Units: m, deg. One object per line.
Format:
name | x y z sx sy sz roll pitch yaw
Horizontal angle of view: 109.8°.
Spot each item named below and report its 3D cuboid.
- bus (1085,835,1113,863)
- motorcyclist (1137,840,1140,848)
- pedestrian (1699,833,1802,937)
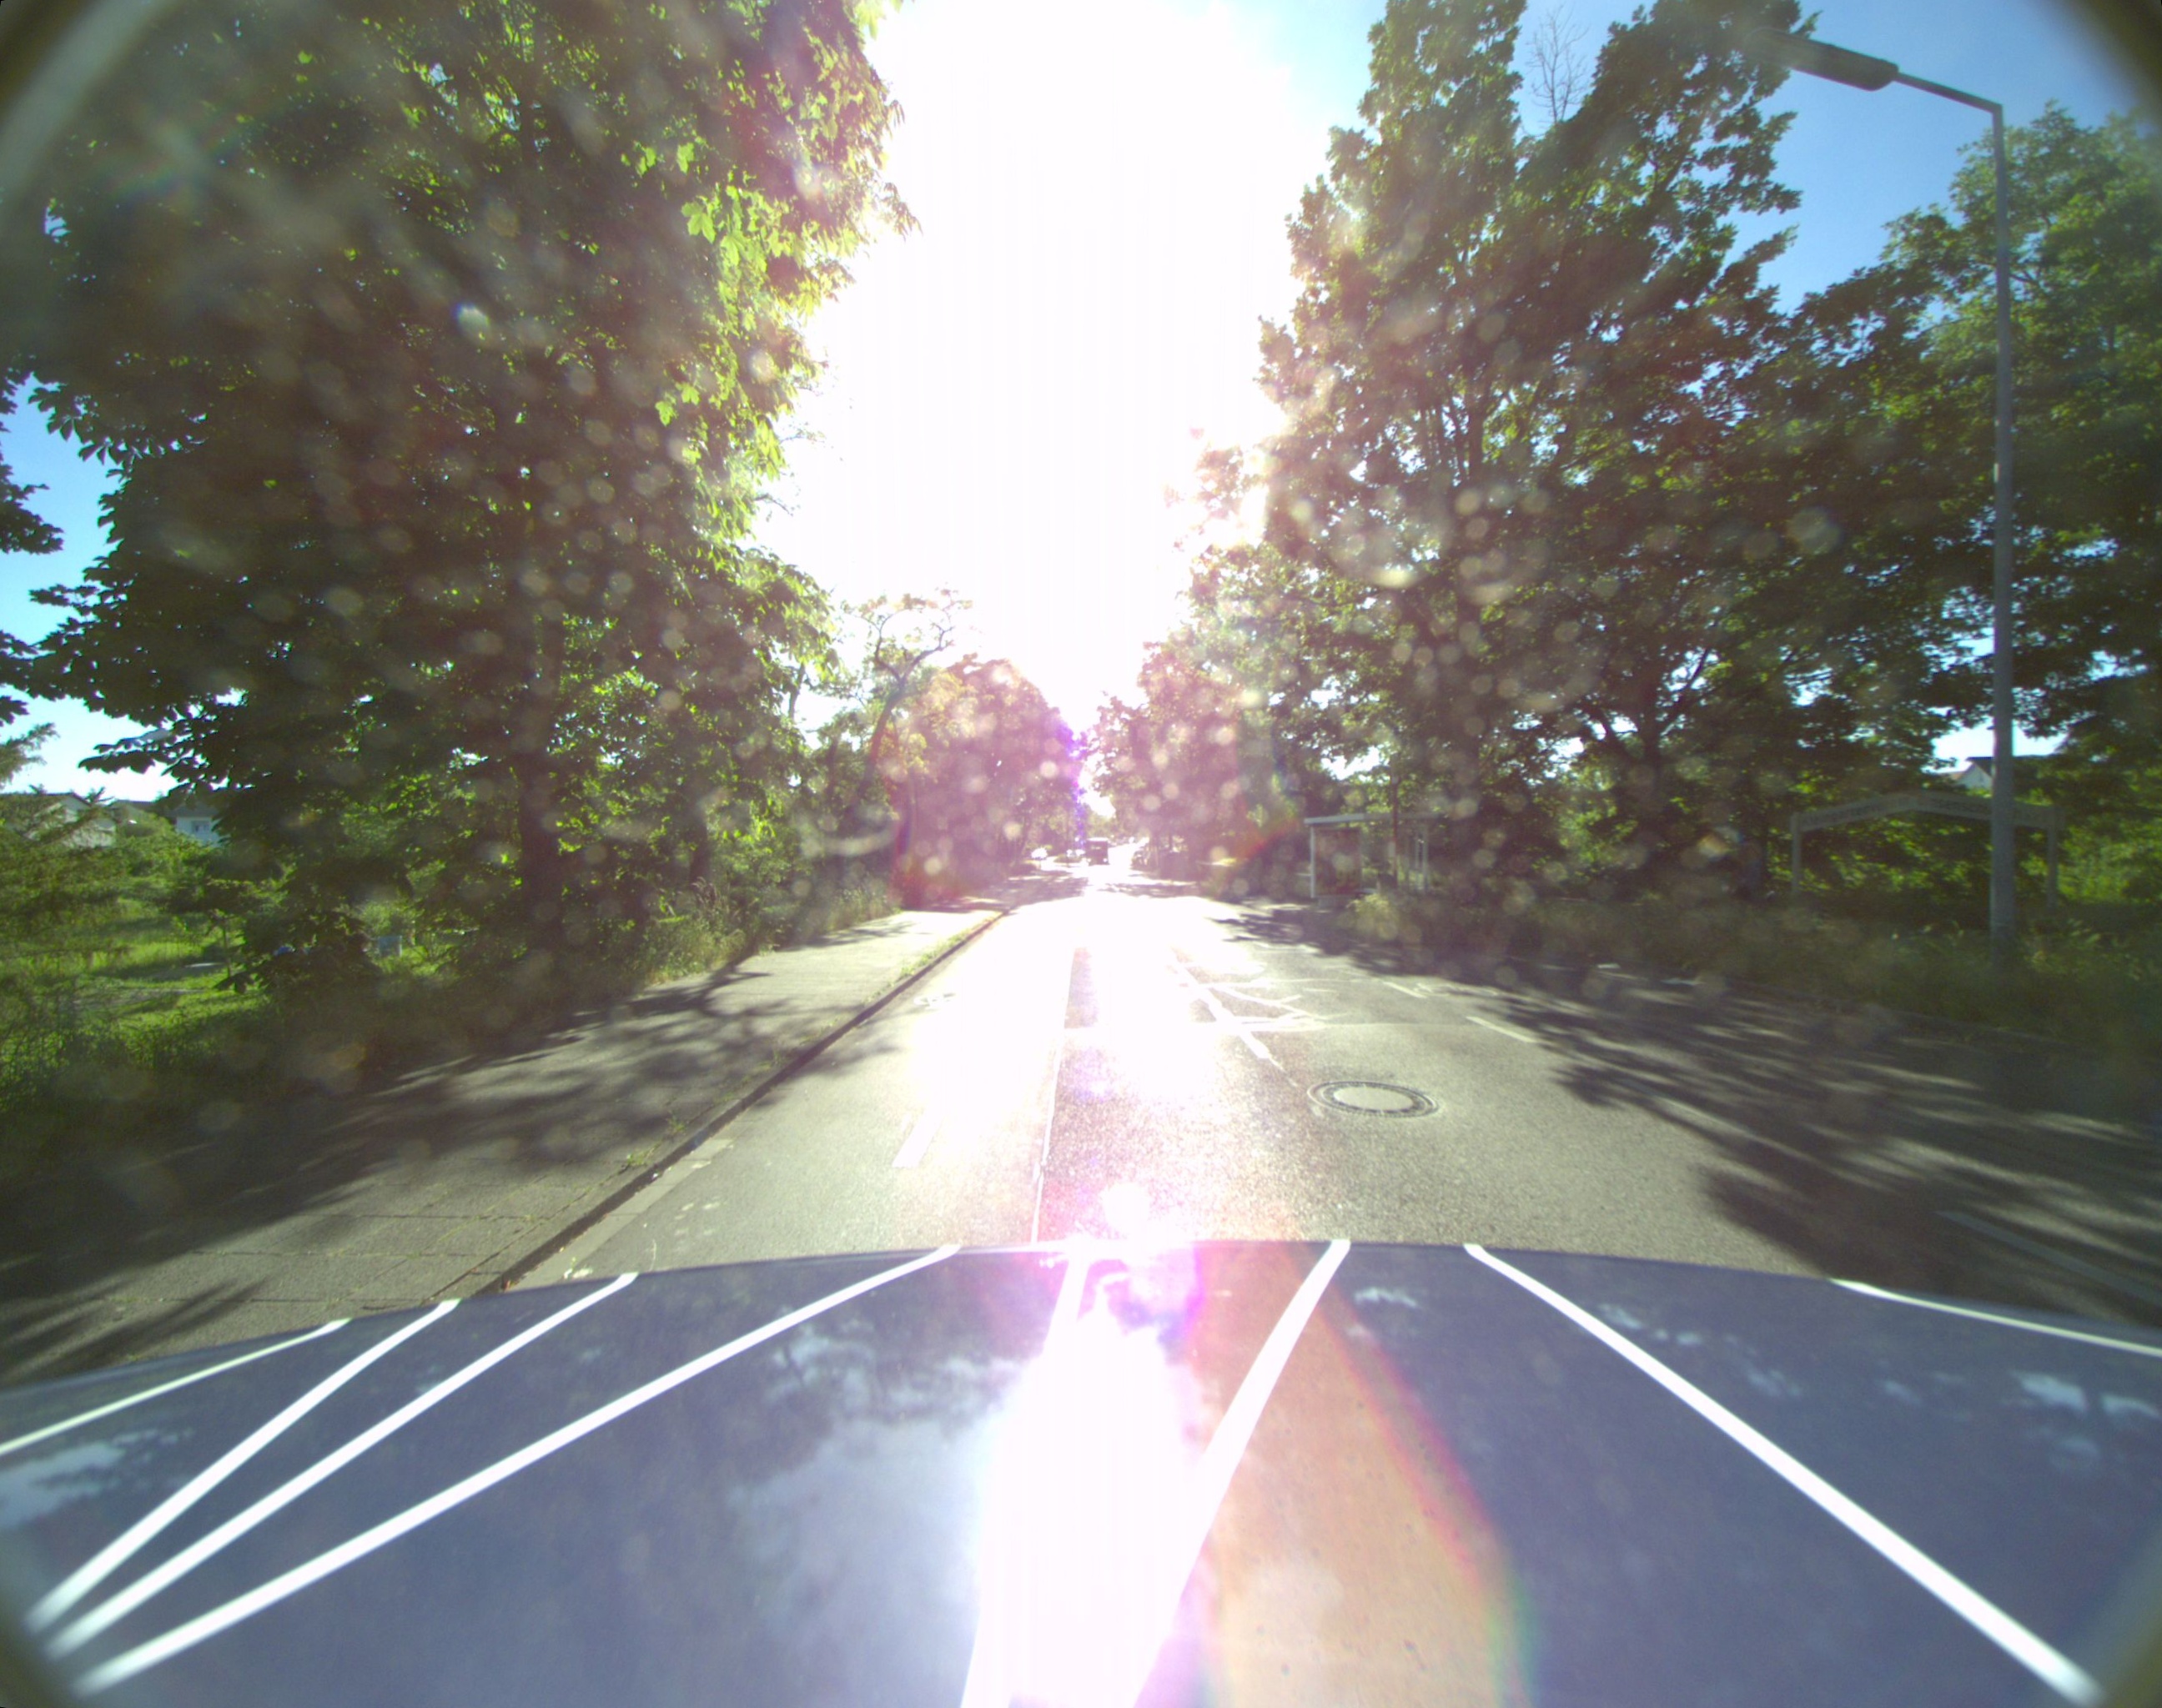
bus | 2.050 -0.536 90.875 2.790 2.965 12.893 -2 0 -1
motorcyclist | 14.139 -2.408 186.094 0.640 2.002 0.739 -3 2 -2
pedestrian | 11.360 0.508 12.928 0.915 1.678 0.891 -2 0 2
